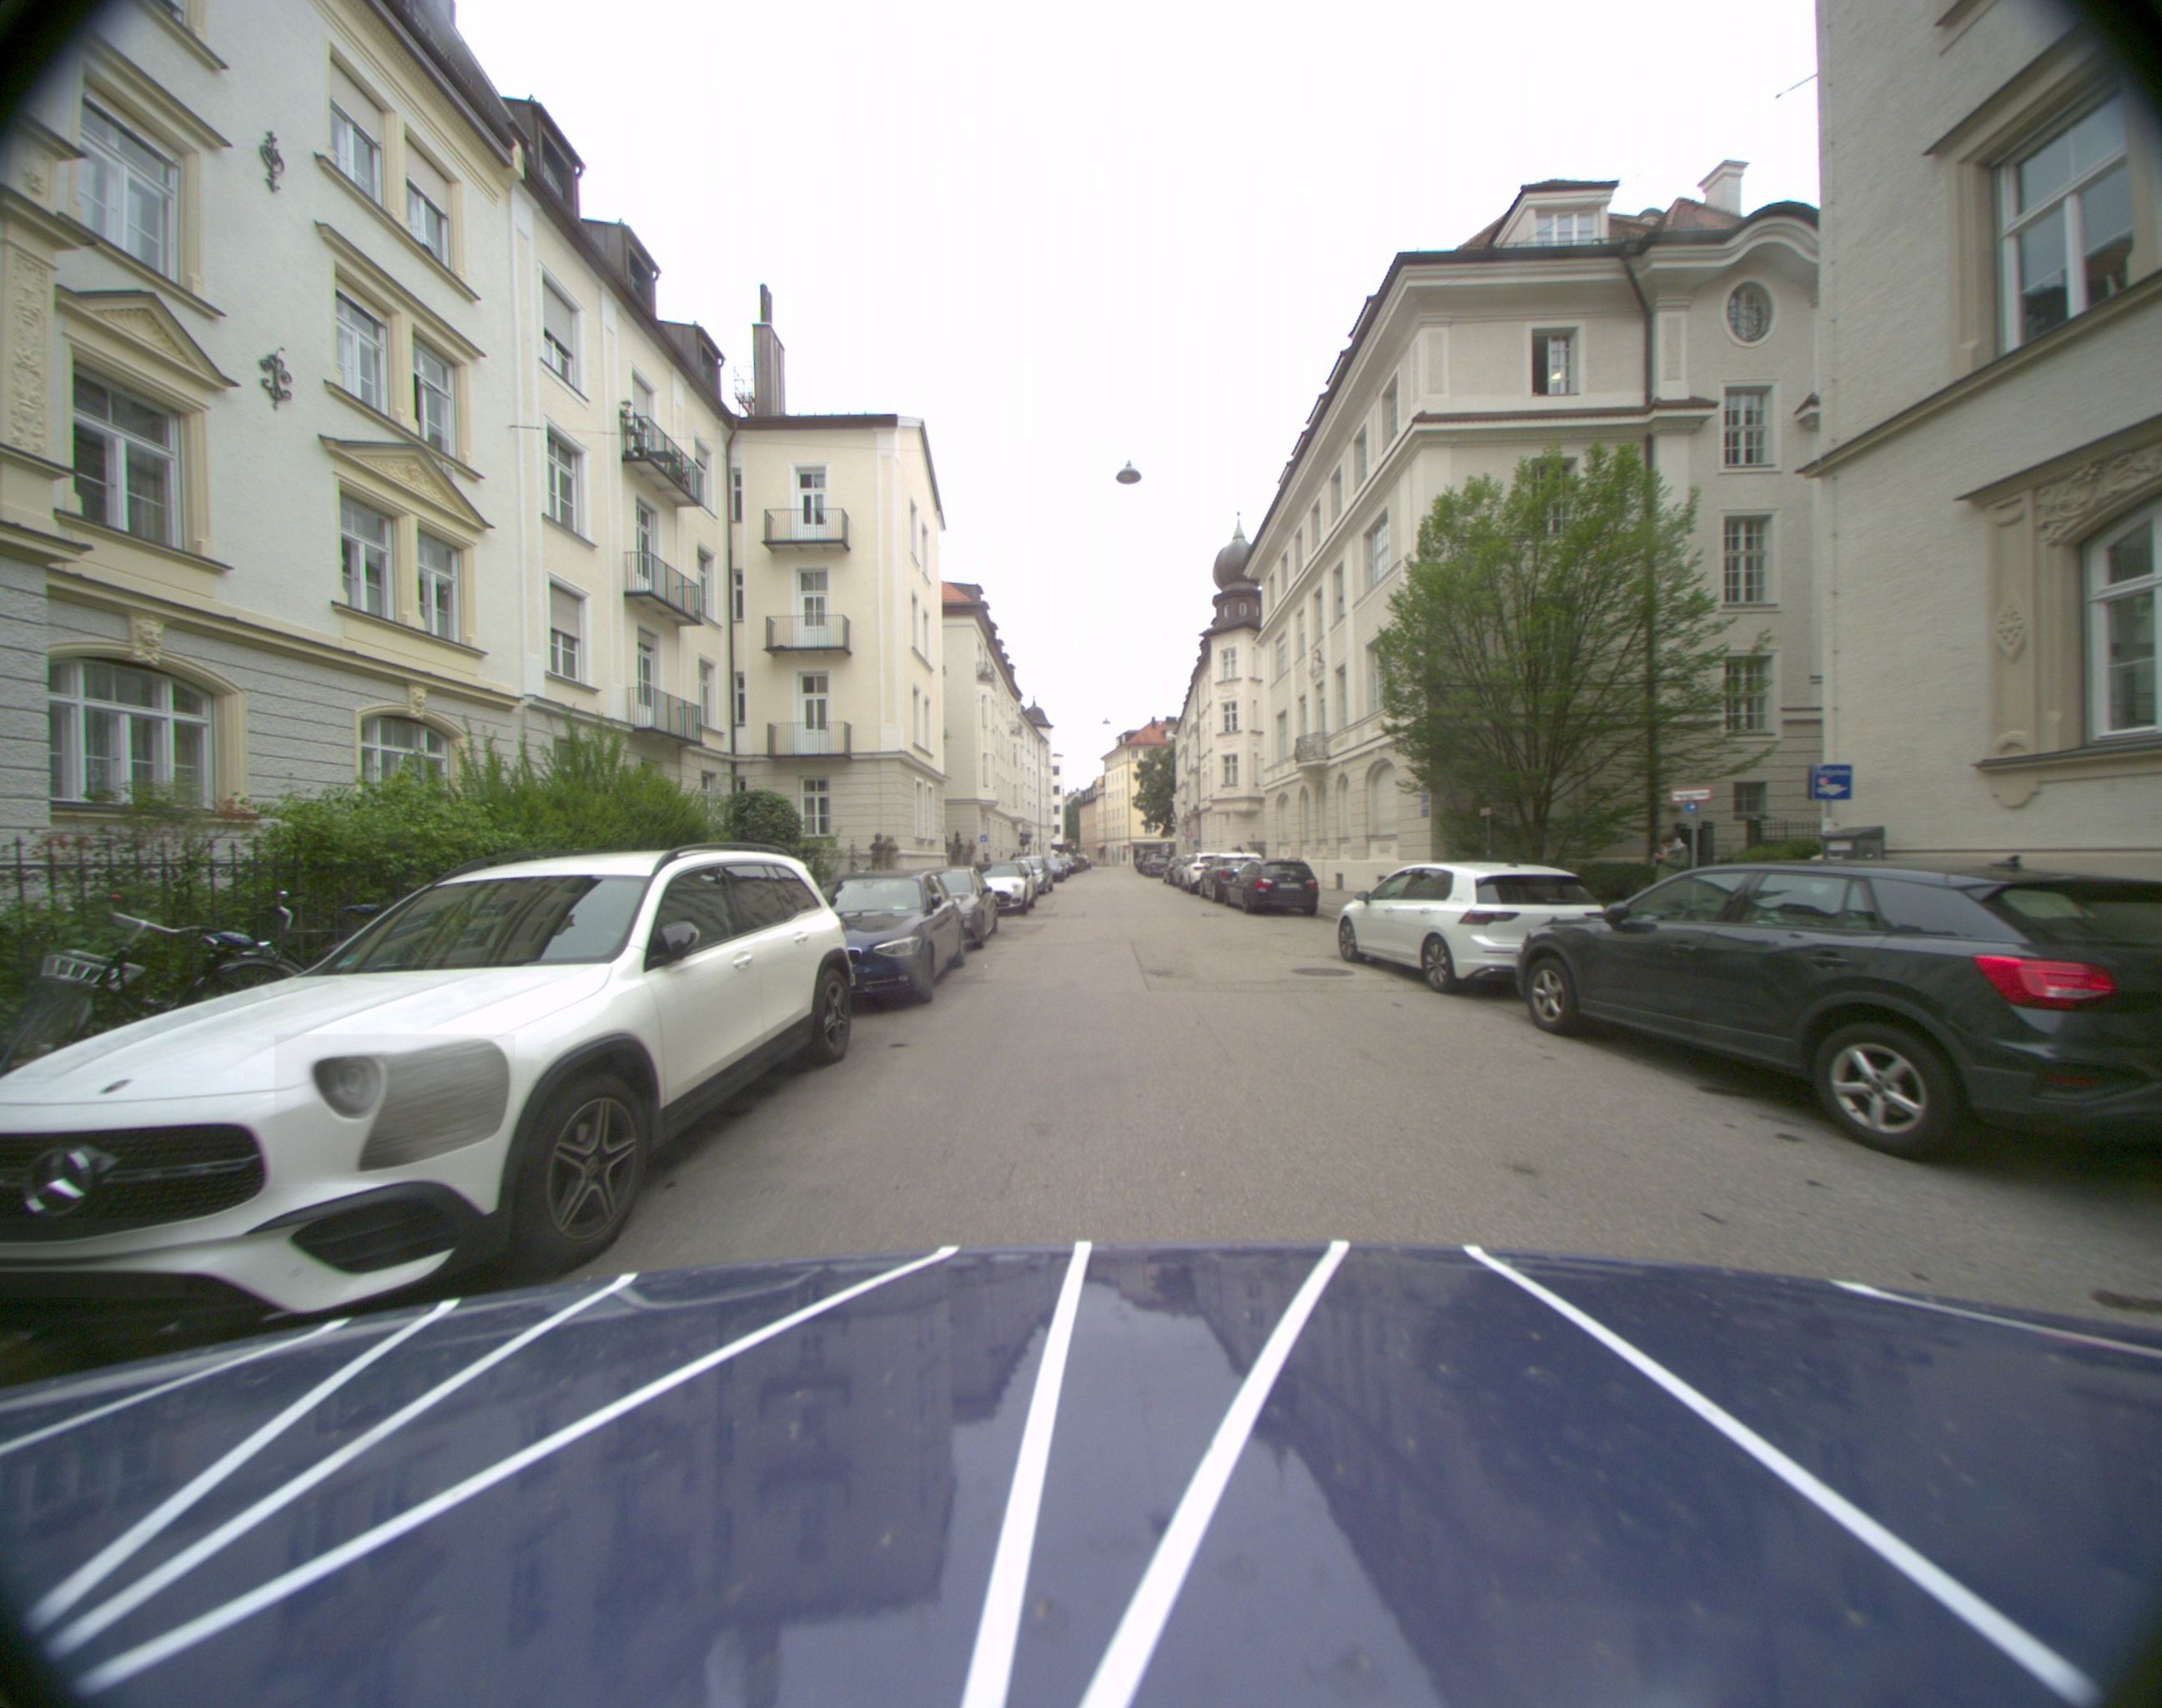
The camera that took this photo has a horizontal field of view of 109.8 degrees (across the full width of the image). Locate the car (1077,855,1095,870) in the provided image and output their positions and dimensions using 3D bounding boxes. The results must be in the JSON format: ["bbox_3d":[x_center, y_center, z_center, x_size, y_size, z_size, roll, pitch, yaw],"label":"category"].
[{"bbox_3d":[0.587,0.955,90.780,1.840,1.609,4.095,-4,0,3],"label":"car"}]

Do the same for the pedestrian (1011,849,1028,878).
[{"bbox_3d":[-3.894,0.565,47.923,0.885,1.801,1.111,0,1,6],"label":"pedestrian"}]

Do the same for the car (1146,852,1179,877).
[{"bbox_3d":[5.479,0.667,51.582,1.731,1.609,4.121,1,0,0],"label":"car"}]

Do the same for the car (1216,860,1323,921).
[{"bbox_3d":[4.891,0.880,20.336,1.791,1.404,4.367,-1,0,1],"label":"car"}]

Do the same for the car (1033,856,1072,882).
[{"bbox_3d":[-1.684,0.890,47.114,1.998,1.449,4.713,-2,0,2],"label":"car"}]

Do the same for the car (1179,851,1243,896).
[{"bbox_3d":[5.131,0.727,30.525,1.919,1.609,4.572,-1,0,2],"label":"car"}]

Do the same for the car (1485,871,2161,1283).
[{"bbox_3d":[4.842,0.941,5.153,1.775,1.509,4.385,2,0,-1],"label":"car"}]

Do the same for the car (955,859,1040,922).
[{"bbox_3d":[-2.226,0.944,21.342,1.788,1.495,4.065,-2,0,1],"label":"car"}]

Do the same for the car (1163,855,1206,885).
[{"bbox_3d":[5.433,0.818,40.345,1.797,1.407,4.278,1,0,1],"label":"car"}]

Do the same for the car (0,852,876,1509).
[{"bbox_3d":[-2.750,0.940,4.342,1.727,1.759,4.413,-4,1,2],"label":"car"}]

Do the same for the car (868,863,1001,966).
[{"bbox_3d":[-2.528,0.979,13.998,1.688,1.495,4.017,-2,0,-1],"label":"car"}]

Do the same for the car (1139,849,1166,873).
[{"bbox_3d":[5.880,0.566,63.122,1.841,1.883,4.763,1,0,1],"label":"car"}]

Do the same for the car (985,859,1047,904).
[{"bbox_3d":[-2.224,0.927,26.821,1.758,1.398,3.451,-2,0,1],"label":"car"}]

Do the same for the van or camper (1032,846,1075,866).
[{"bbox_3d":[-3.926,0.282,106.913,5.869,2.697,2.304,-1,-2,-5],"label":"van or camper"}]

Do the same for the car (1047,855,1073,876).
[{"bbox_3d":[-1.576,0.845,56.693,1.841,1.391,4.973,-3,0,-2],"label":"car"}]

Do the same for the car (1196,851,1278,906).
[{"bbox_3d":[5.034,0.753,25.069,1.841,1.609,4.245,-1,0,1],"label":"car"}]

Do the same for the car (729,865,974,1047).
[{"bbox_3d":[-2.470,0.989,9.388,1.755,1.601,4.423,-3,0,-2],"label":"car"}]

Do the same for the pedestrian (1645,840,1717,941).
[{"bbox_3d":[9.866,0.585,12.507,0.675,1.617,0.631,-1,1,-2],"label":"pedestrian"}]

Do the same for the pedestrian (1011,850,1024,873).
[{"bbox_3d":[-5.094,0.601,61.168,0.885,1.803,1.111,-1,0,2],"label":"pedestrian"}]

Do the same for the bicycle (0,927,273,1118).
[{"bbox_3d":[-6.825,1.146,5.531,0.455,1.092,1.313,-1,1,0],"label":"bicycle"}]

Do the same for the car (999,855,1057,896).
[{"bbox_3d":[-2.201,0.865,32.494,1.826,1.560,4.401,-4,0,3],"label":"car"}]

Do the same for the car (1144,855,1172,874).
[{"bbox_3d":[5.835,0.789,57.712,1.840,1.386,4.245,1,0,2],"label":"car"}]

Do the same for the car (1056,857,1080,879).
[{"bbox_3d":[-1.083,1.175,66.130,1.804,1.665,4.189,-4,0,1],"label":"car"}]

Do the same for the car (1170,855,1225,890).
[{"bbox_3d":[5.387,0.820,35.650,1.787,1.532,4.256,1,0,-2],"label":"car"}]

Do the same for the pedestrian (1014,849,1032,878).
[{"bbox_3d":[-3.530,0.583,46.515,0.885,1.776,1.111,0,1,6],"label":"pedestrian"}]

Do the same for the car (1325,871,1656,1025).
[{"bbox_3d":[4.695,0.967,9.564,1.841,1.425,4.244,0,0,0],"label":"car"}]
